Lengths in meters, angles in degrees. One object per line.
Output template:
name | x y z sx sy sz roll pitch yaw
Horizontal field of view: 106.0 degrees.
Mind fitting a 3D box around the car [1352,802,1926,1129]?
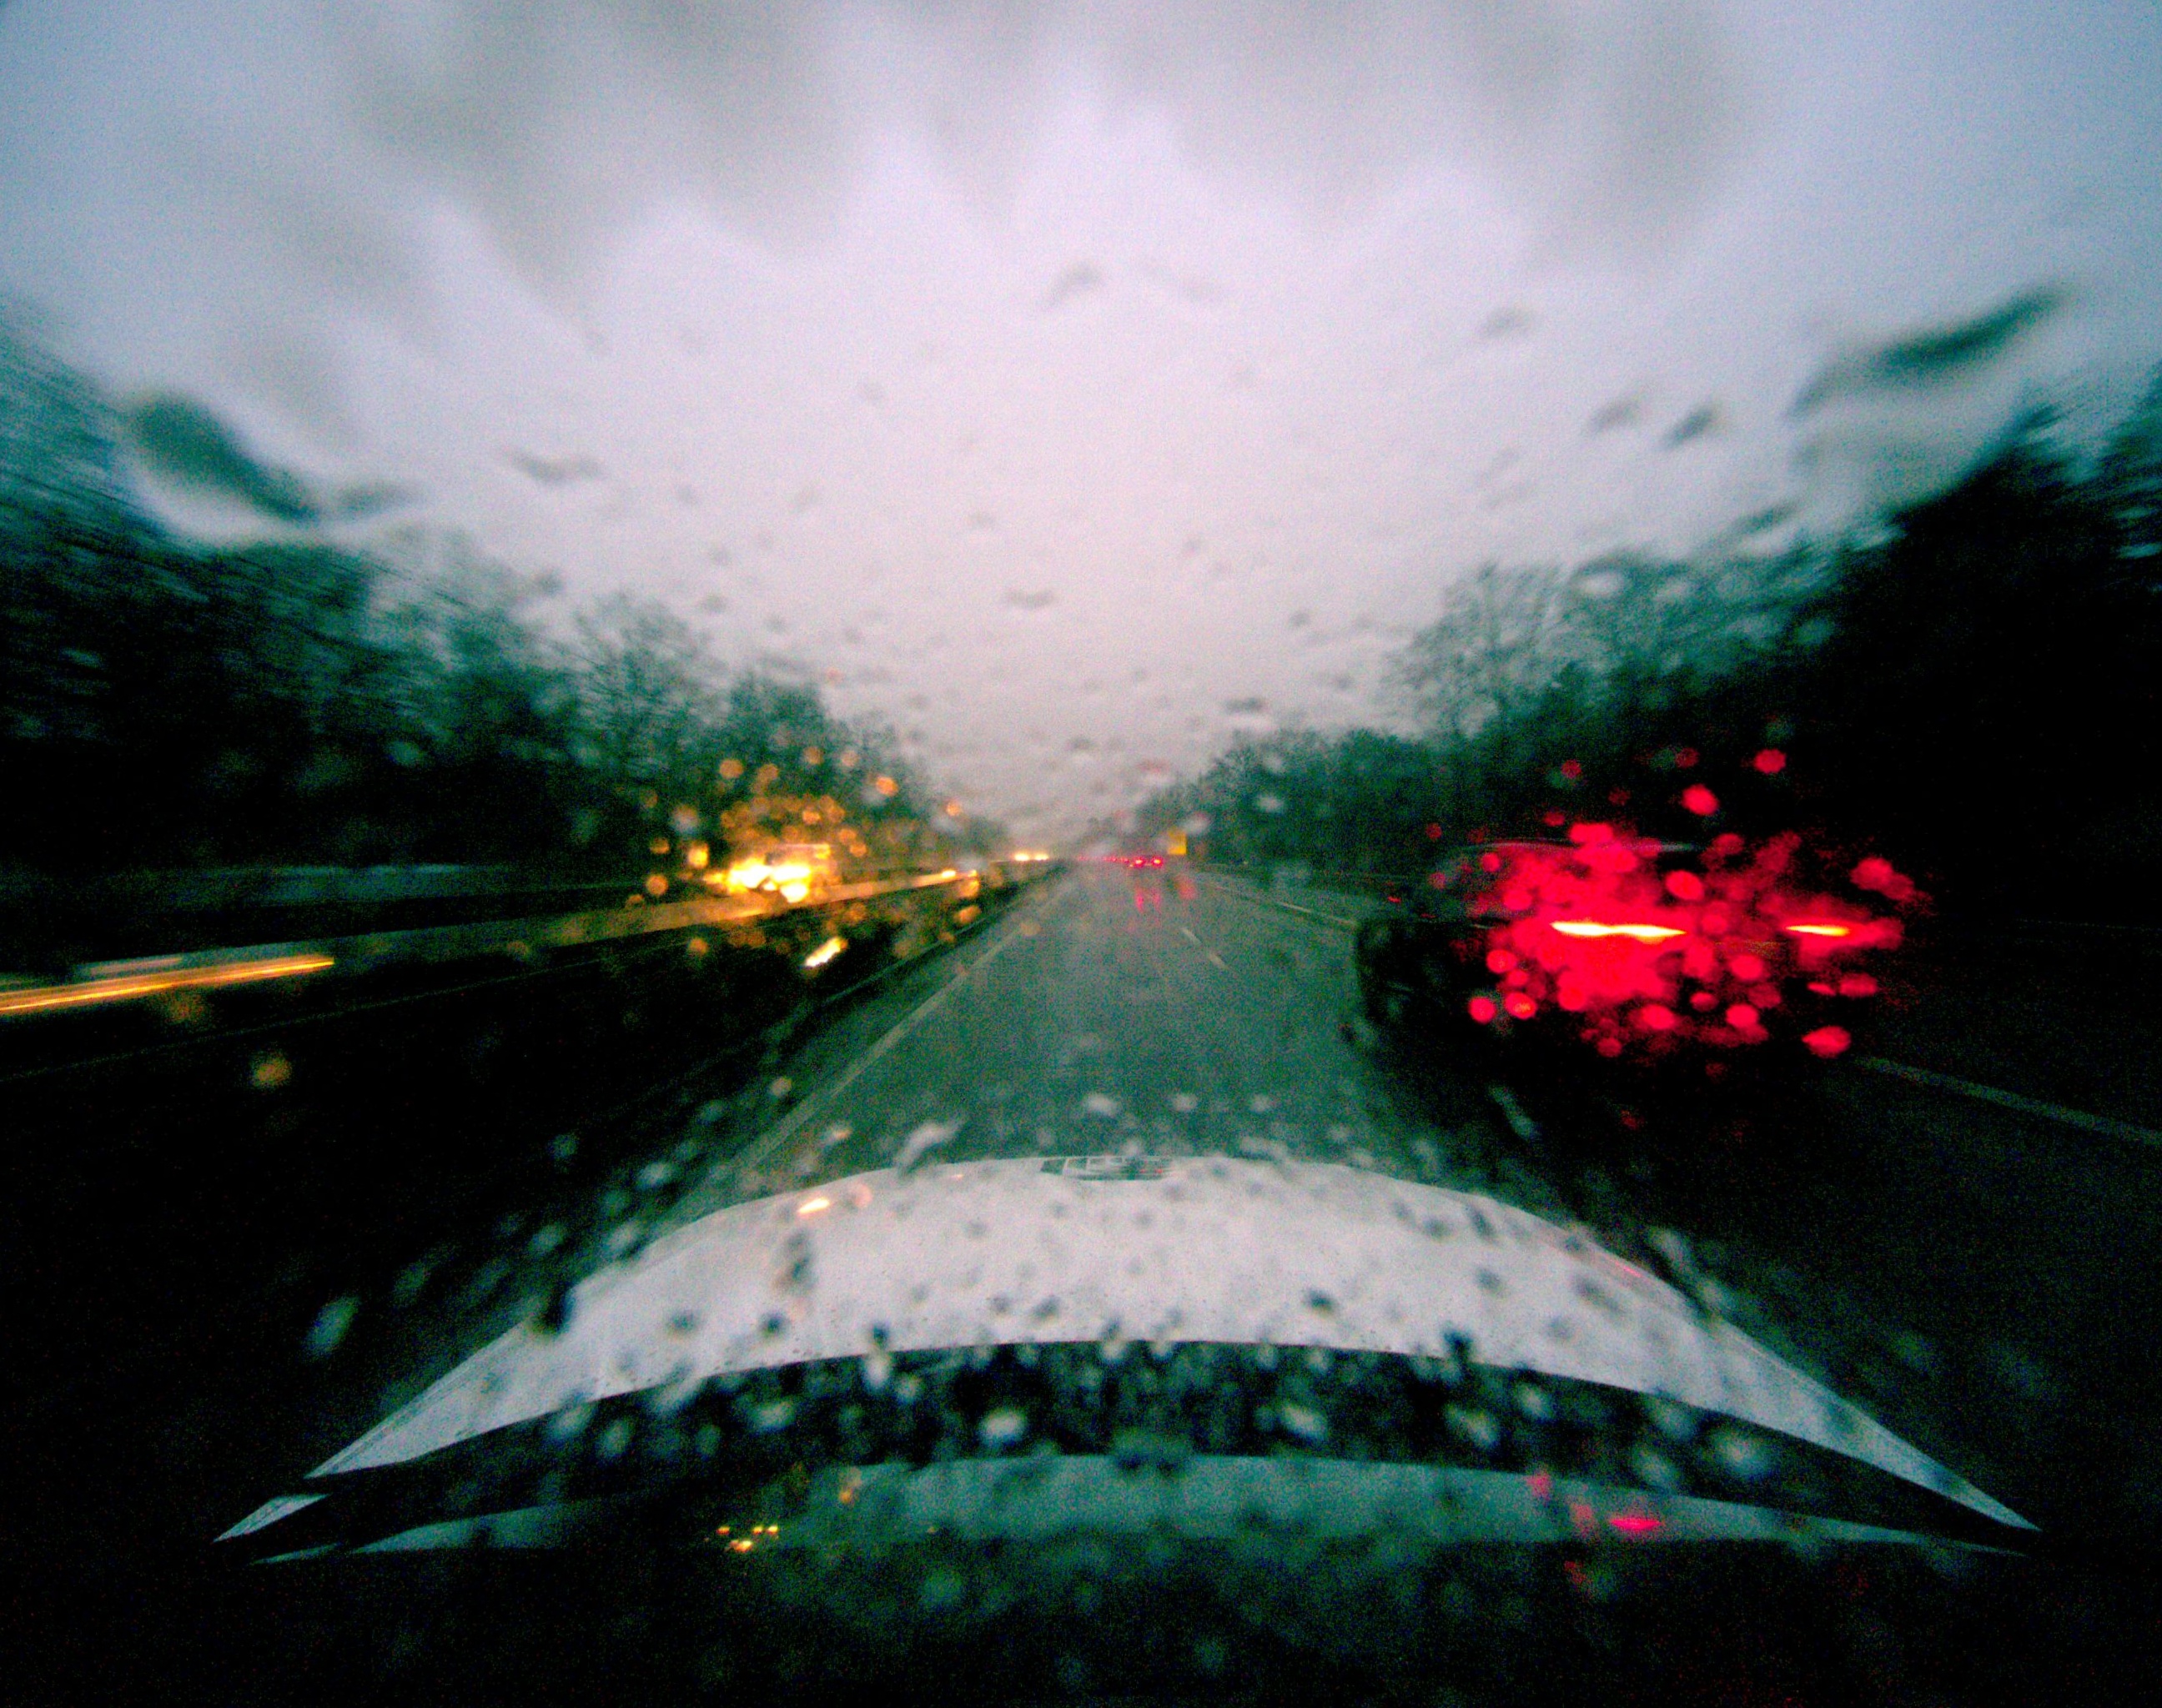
car | 3.745 0.634 6.486 1.917 1.791 3.941 -1 -1 1

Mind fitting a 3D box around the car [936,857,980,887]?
car | -6.310 0.896 42.068 1.625 1.468 3.524 -1 -1 1

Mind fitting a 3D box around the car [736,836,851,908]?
car | -10.116 0.613 29.154 2.023 2.316 5.462 -1 -1 2

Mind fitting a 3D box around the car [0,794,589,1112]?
car | -6.896 0.640 7.458 1.736 1.956 4.819 -1 -1 1

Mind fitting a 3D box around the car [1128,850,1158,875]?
car | 4.403 0.623 58.158 1.984 1.715 3.831 -1 -1 2
